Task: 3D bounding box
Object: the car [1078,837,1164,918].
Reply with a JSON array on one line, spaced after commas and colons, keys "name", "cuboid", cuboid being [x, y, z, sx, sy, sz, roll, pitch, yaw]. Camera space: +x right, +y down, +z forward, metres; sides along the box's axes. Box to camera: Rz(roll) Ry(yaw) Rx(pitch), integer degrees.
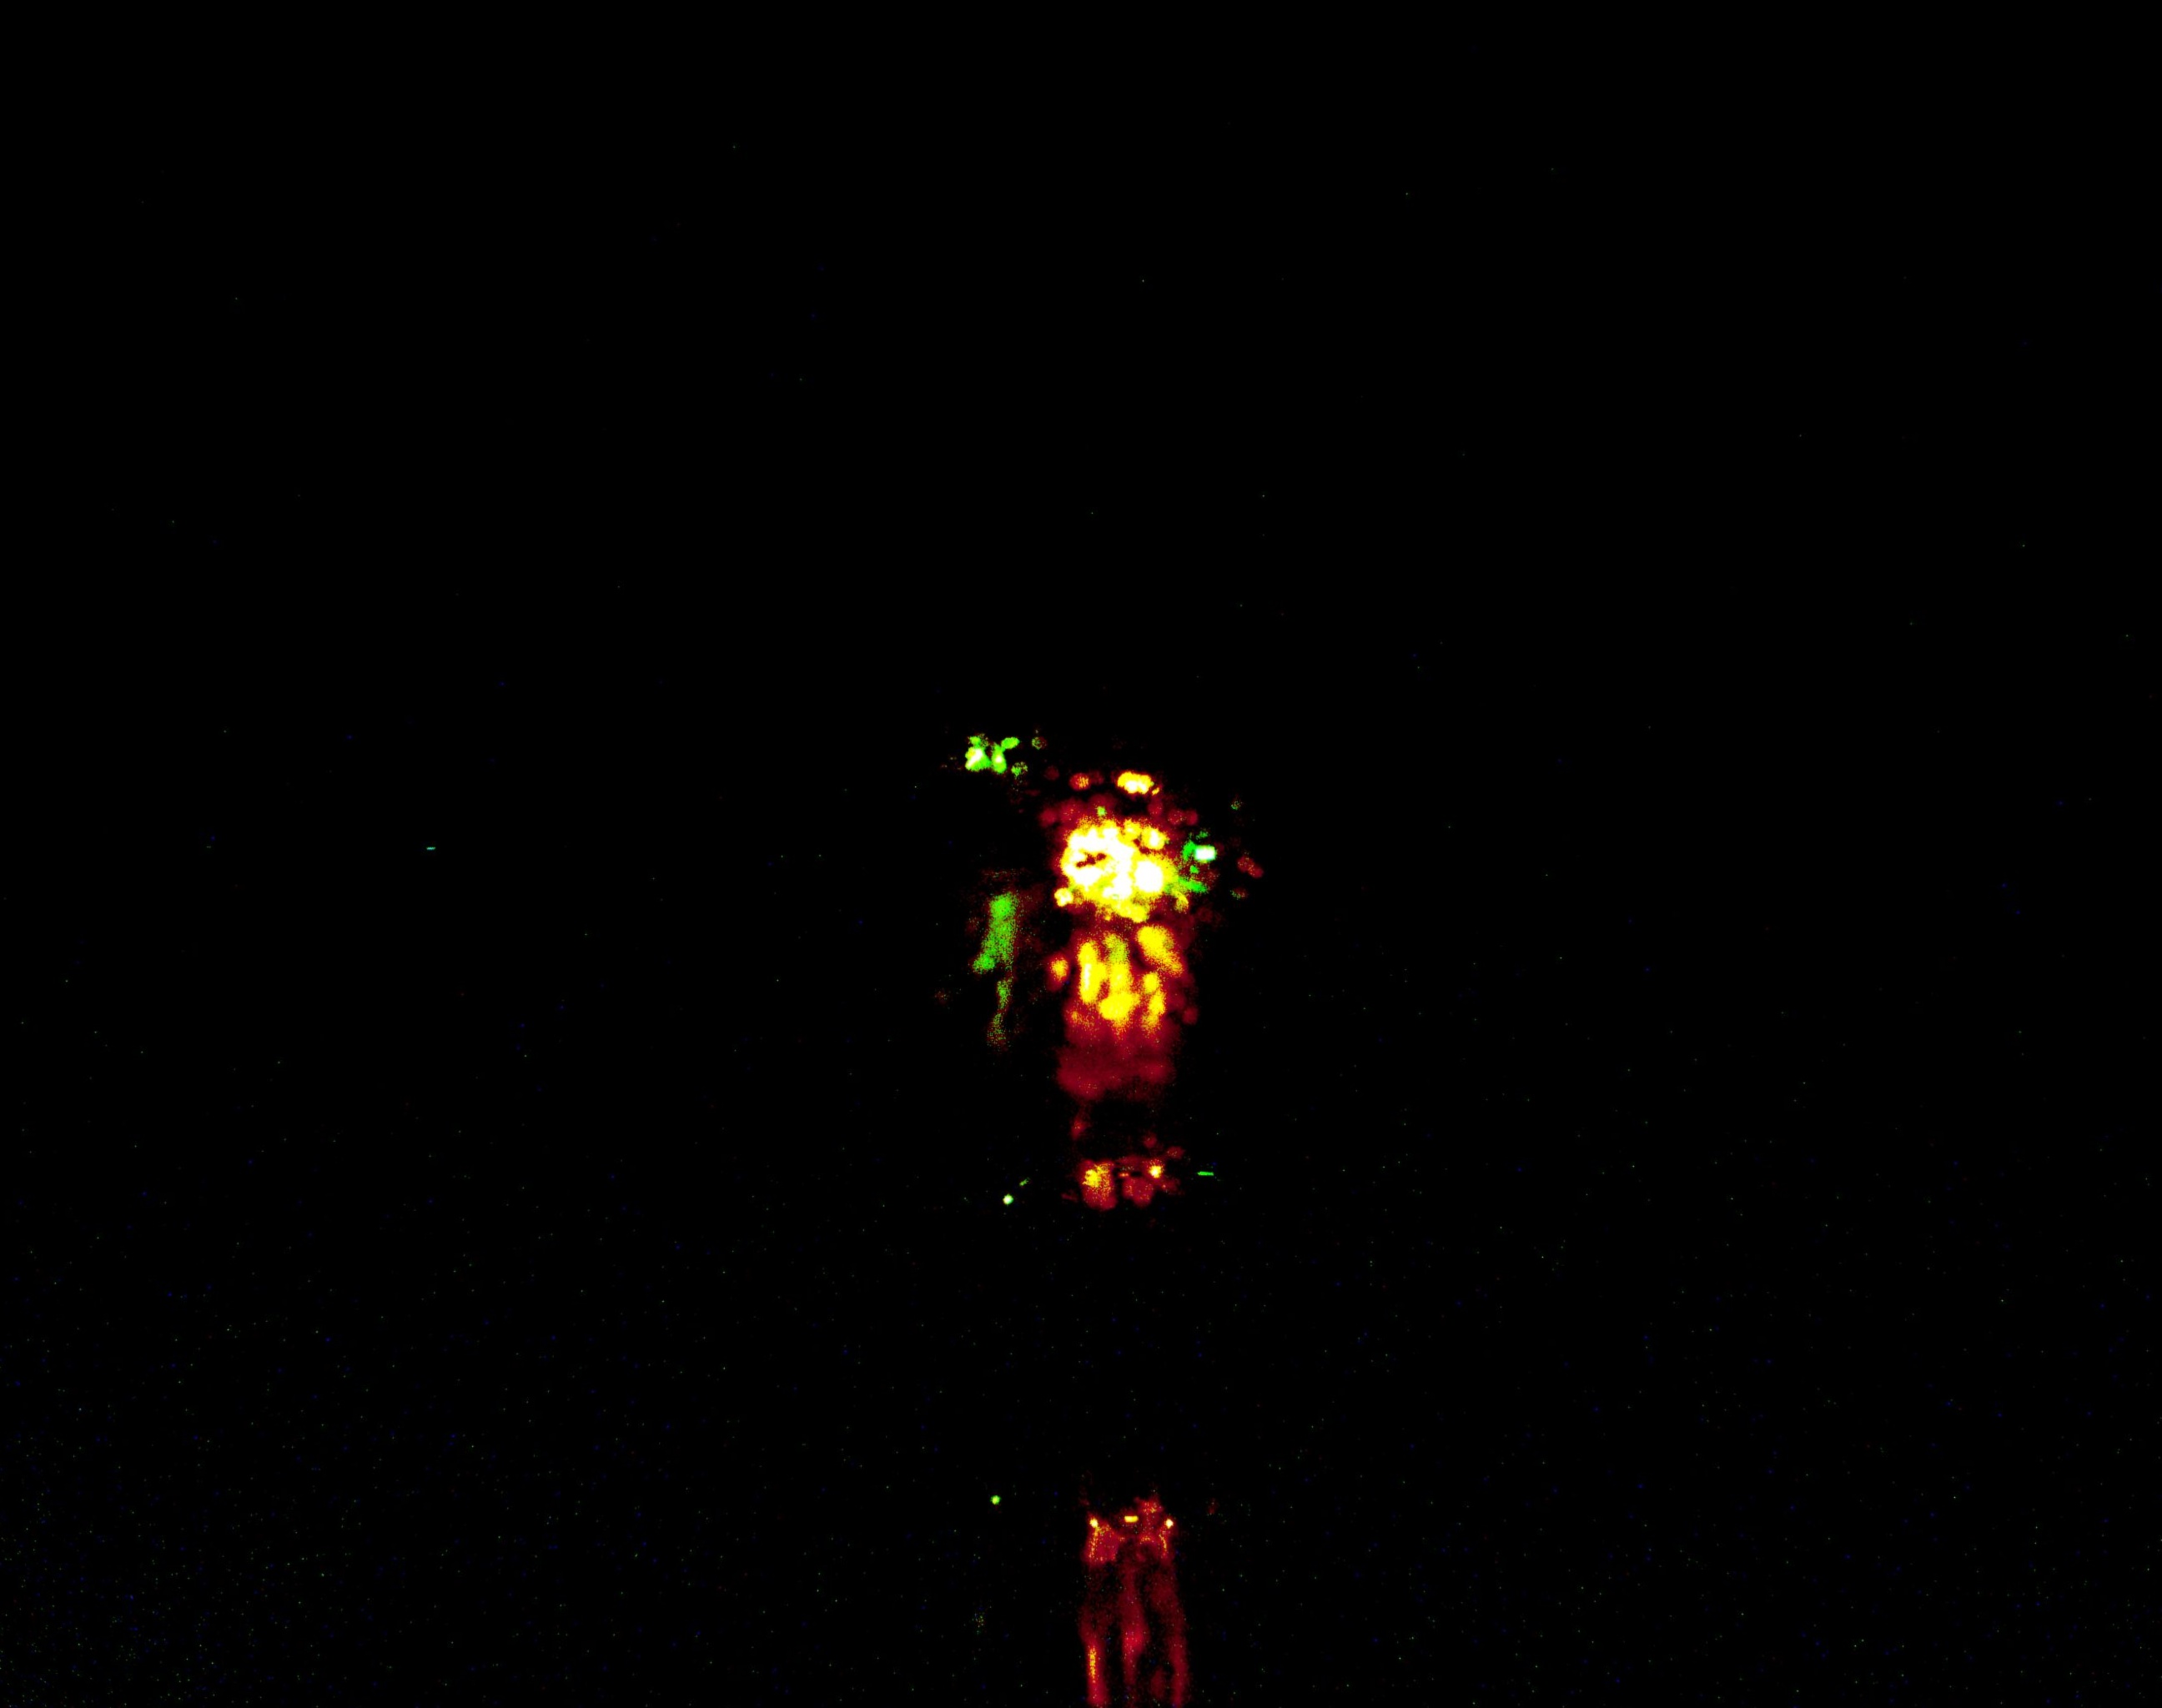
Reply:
[{"name": "car", "cuboid": [1.006, 0.484, 19.192, 1.782, 1.681, 3.909, -1, 0, 4]}]
